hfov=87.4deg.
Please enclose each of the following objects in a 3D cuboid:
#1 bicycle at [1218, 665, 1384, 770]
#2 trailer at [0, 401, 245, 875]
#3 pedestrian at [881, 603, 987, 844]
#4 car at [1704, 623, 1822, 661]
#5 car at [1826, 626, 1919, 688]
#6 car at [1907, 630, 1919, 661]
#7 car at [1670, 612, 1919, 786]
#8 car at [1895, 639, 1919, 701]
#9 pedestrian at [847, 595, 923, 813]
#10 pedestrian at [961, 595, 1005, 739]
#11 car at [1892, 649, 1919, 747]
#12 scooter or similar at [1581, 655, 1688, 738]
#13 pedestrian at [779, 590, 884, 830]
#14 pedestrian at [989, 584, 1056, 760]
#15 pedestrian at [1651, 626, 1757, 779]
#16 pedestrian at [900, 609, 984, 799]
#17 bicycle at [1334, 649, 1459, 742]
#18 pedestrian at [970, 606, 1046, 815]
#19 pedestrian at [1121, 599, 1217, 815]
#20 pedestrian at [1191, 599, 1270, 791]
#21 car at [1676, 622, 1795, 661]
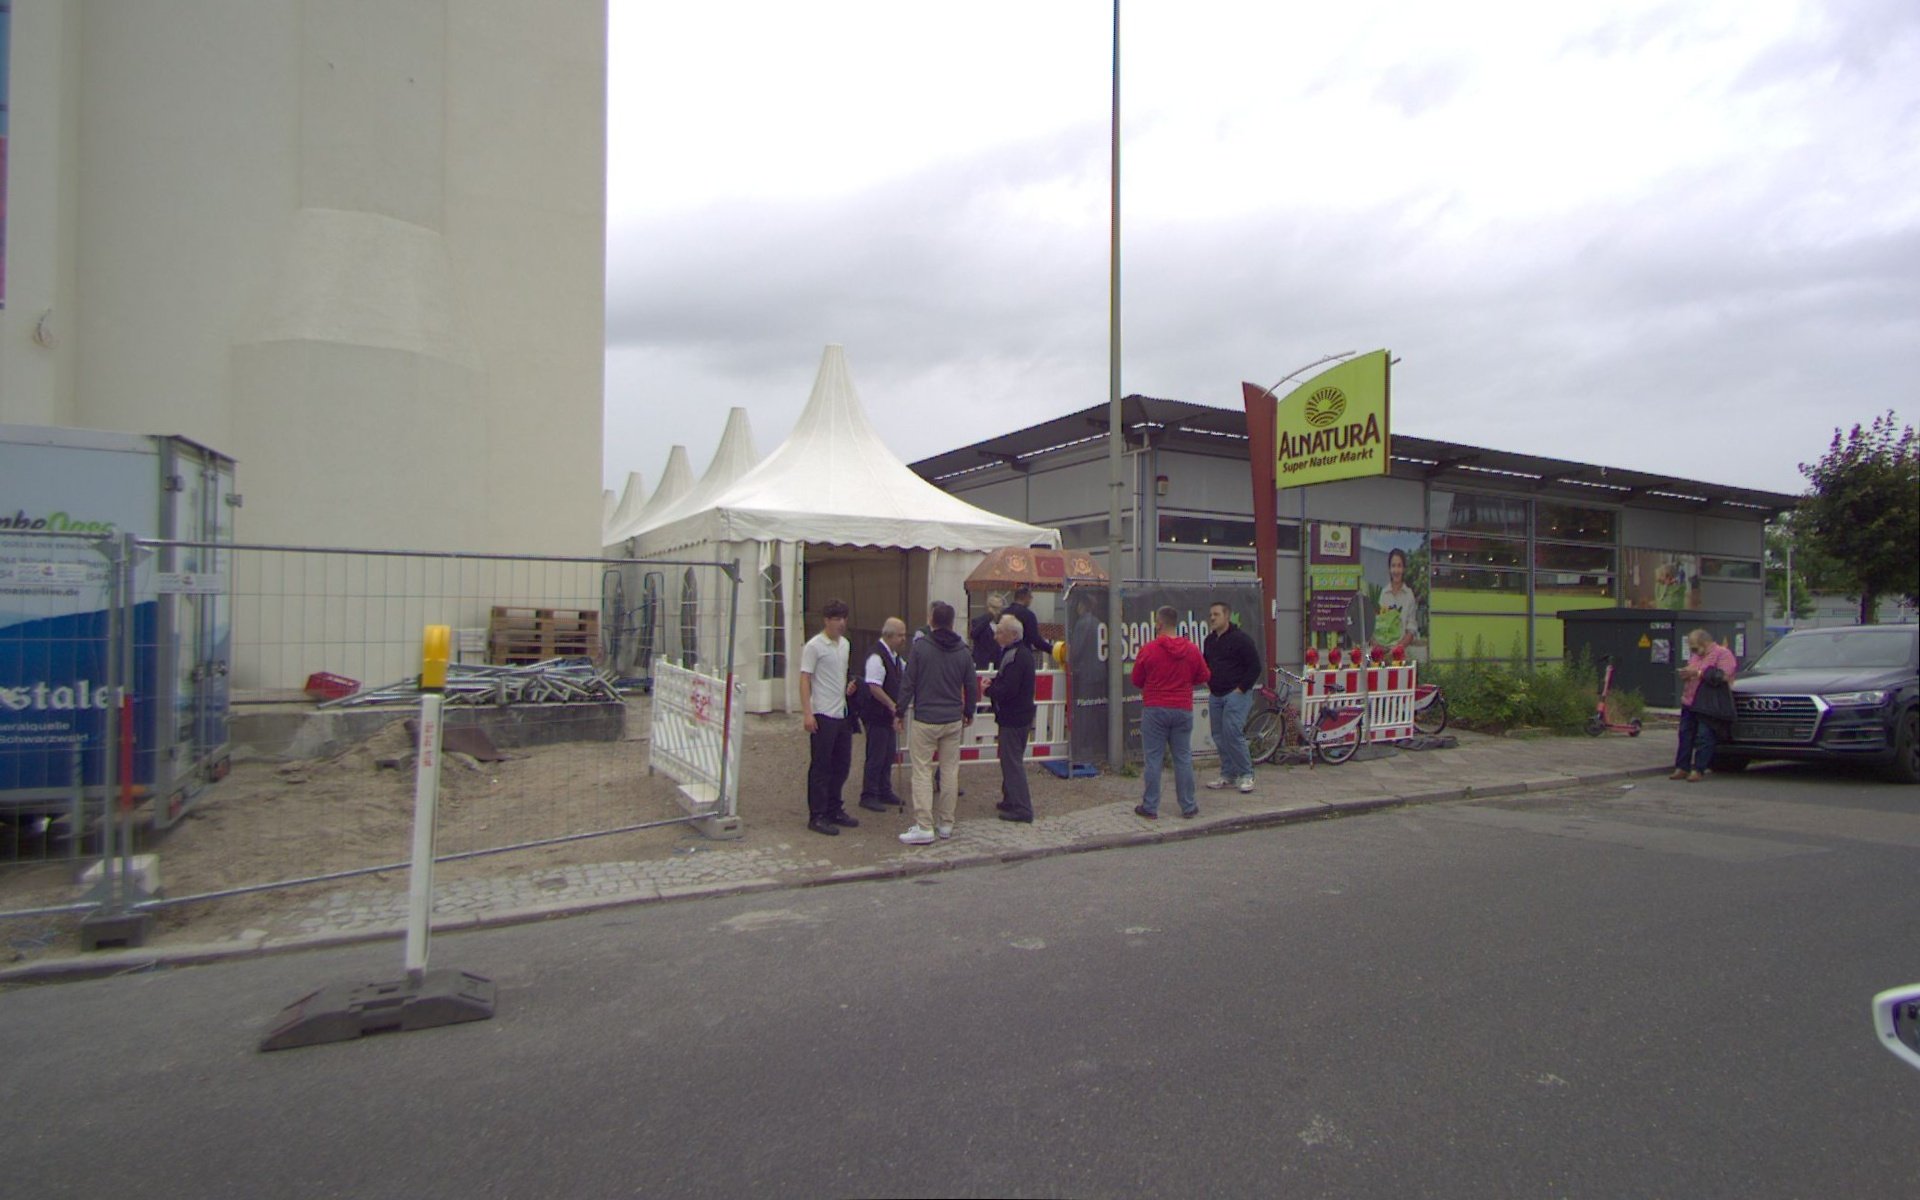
[{"bbox_3d":[3.855,1.301,11.309,1.874,1.092,0.542,2,-1,-23],"label":"bicycle"},{"bbox_3d":[-6.430,0.210,6.044,3.149,2.641,1.792,1,-1,-26],"label":"trailer"},{"bbox_3d":[-0.210,0.918,7.742,0.680,1.773,0.489,1,0,-18],"label":"pedestrian"},{"bbox_3d":[38.036,1.965,47.672,1.853,1.691,3.970,1,-1,-29],"label":"car"},{"bbox_3d":[27.640,1.660,28.784,1.904,1.642,3.857,1,0,-28],"label":"car"},{"bbox_3d":[54.982,2.533,55.175,1.853,1.691,3.970,1,-1,-29],"label":"car"},{"bbox_3d":[10.735,1.092,11.914,4.670,1.713,1.859,1,-4,-29],"label":"car"},{"bbox_3d":[33.560,2.357,33.000,1.744,2.040,3.903,1,-1,-35],"label":"car"},{"bbox_3d":[-0.640,0.848,8.466,0.520,1.773,0.489,1,0,-18],"label":"pedestrian"},{"bbox_3d":[0.268,0.782,11.820,0.463,1.657,0.422,1,-1,-5],"label":"pedestrian"},{"bbox_3d":[15.923,1.389,14.951,4.464,1.385,1.691,1,-6,-30],"label":"car"},{"bbox_3d":[10.274,1.448,15.295,1.621,1.172,0.659,1,-1,-28],"label":"scooter or similar"},{"bbox_3d":[-0.998,0.820,7.781,0.682,1.772,0.488,1,-1,-23],"label":"pedestrian"},{"bbox_3d":[0.697,0.782,11.145,0.626,1.890,0.389,0,-1,38],"label":"pedestrian"},{"bbox_3d":[8.380,1.141,11.324,0.645,1.642,0.670,1,-5,-29],"label":"pedestrian"},{"bbox_3d":[-0.162,0.912,9.102,0.531,1.633,0.489,2,0,33],"label":"pedestrian"},{"bbox_3d":[6.132,1.314,14.197,0.387,1.061,1.651,1,3,-30],"label":"bicycle"},{"bbox_3d":[0.402,0.873,8.235,0.481,1.633,0.572,0,-1,16],"label":"pedestrian"},{"bbox_3d":[1.765,0.892,8.515,0.707,1.778,0.410,1,-1,-4],"label":"pedestrian"},{"bbox_3d":[2.605,0.881,9.700,0.673,1.741,0.696,1,3,15],"label":"pedestrian"},{"bbox_3d":[35.820,1.884,46.471,1.853,1.691,3.970,1,-1,-29],"label":"car"}]
